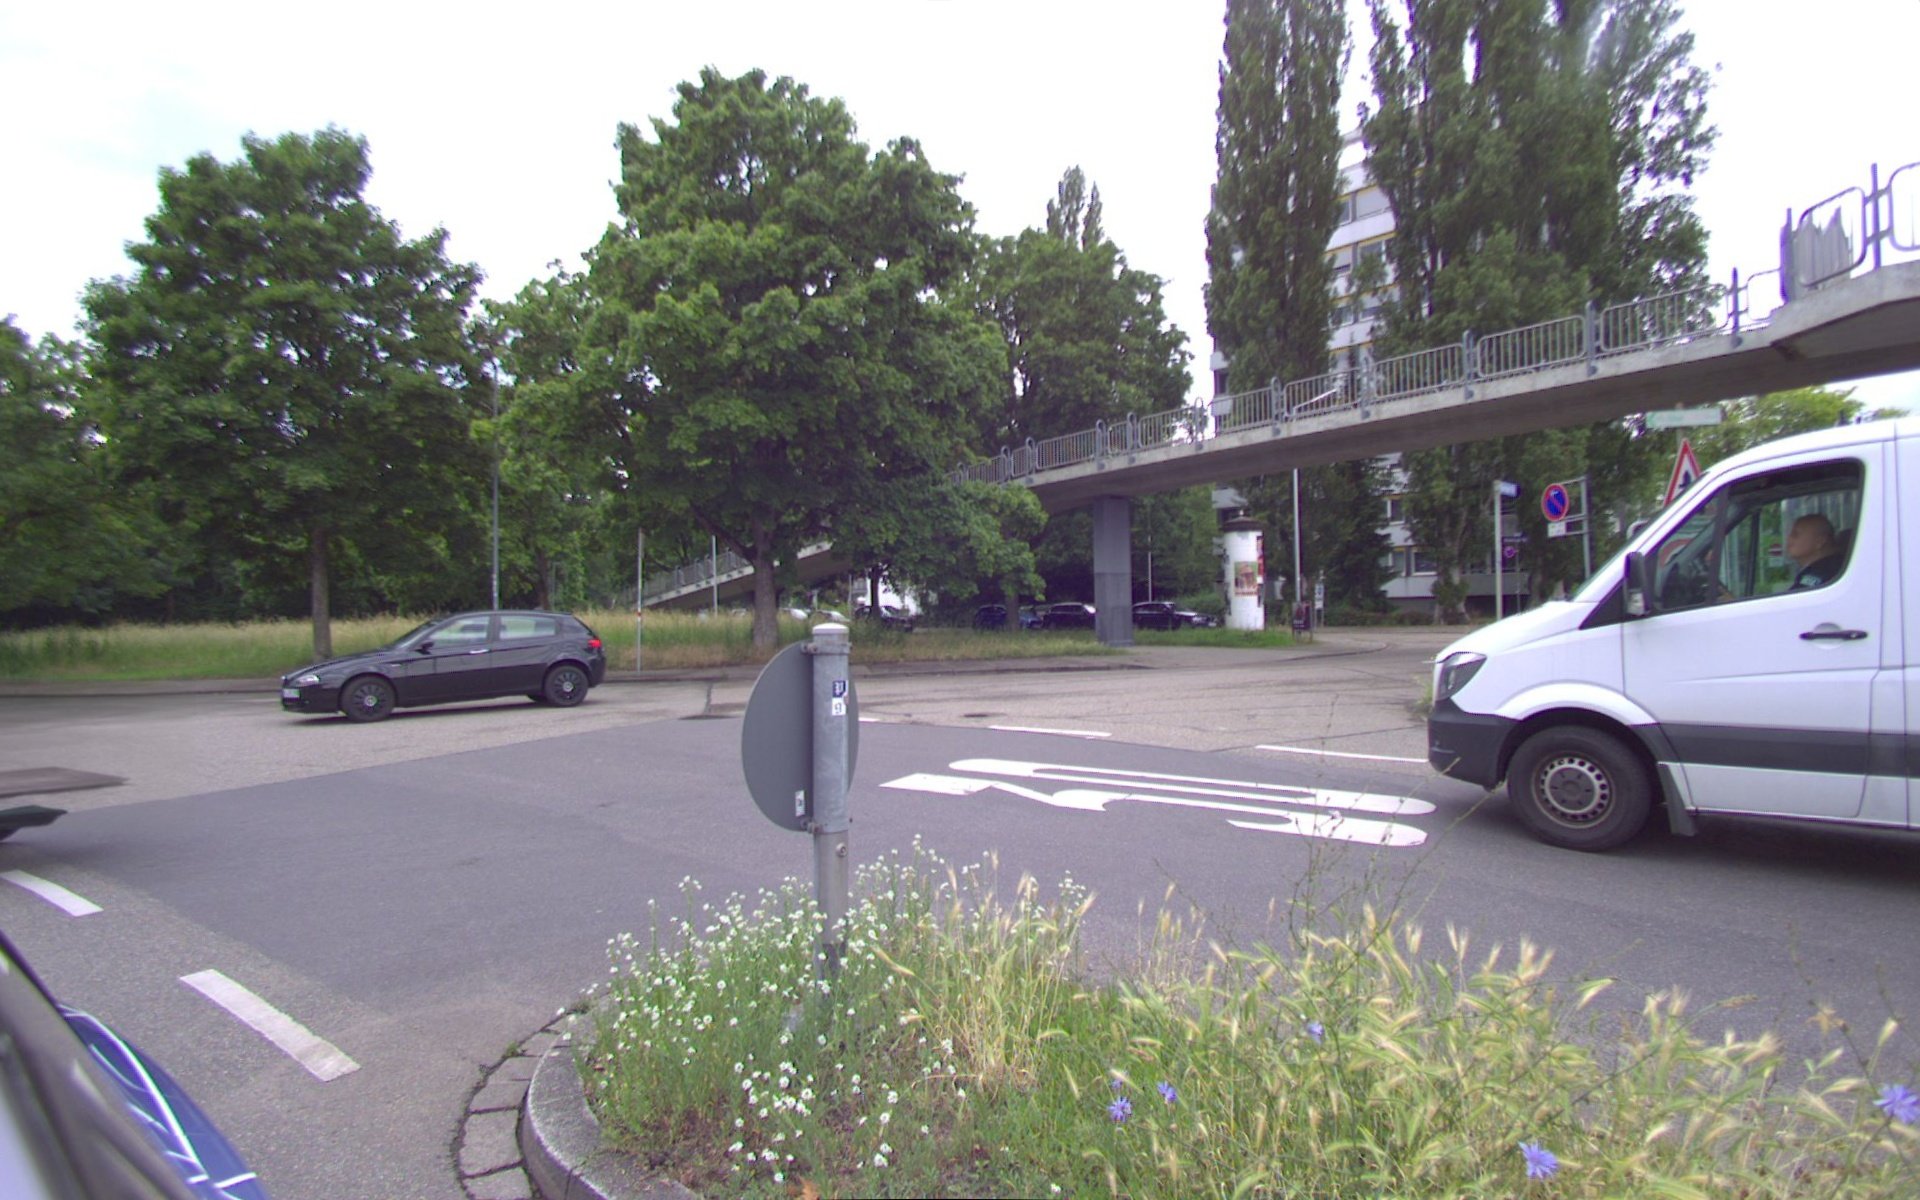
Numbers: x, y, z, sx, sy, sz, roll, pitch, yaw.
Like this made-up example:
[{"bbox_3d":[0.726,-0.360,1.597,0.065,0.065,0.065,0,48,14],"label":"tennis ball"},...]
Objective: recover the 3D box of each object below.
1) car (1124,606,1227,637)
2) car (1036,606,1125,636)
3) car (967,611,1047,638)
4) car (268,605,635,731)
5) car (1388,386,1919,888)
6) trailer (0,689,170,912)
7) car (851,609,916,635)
[{"bbox_3d":[8.888,0.889,41.939,1.667,1.214,4.007,-1,0,-39],"label":"car"},{"bbox_3d":[5.439,0.950,46.170,1.667,1.256,4.007,-1,0,-39],"label":"car"},{"bbox_3d":[2.289,1.182,49.883,1.667,1.247,4.007,-1,0,-39],"label":"car"},{"bbox_3d":[-7.183,0.857,14.489,4.465,1.468,1.808,-1,-1,-35],"label":"car"},{"bbox_3d":[5.291,0.168,5.281,5.209,2.310,2.110,-2,-1,44],"label":"car"},{"bbox_3d":[-6.695,1.095,5.531,3.408,0.993,1.576,0,0,-12],"label":"trailer"},{"bbox_3d":[-4.379,1.252,57.455,1.667,1.361,4.007,-1,0,-39],"label":"car"}]
